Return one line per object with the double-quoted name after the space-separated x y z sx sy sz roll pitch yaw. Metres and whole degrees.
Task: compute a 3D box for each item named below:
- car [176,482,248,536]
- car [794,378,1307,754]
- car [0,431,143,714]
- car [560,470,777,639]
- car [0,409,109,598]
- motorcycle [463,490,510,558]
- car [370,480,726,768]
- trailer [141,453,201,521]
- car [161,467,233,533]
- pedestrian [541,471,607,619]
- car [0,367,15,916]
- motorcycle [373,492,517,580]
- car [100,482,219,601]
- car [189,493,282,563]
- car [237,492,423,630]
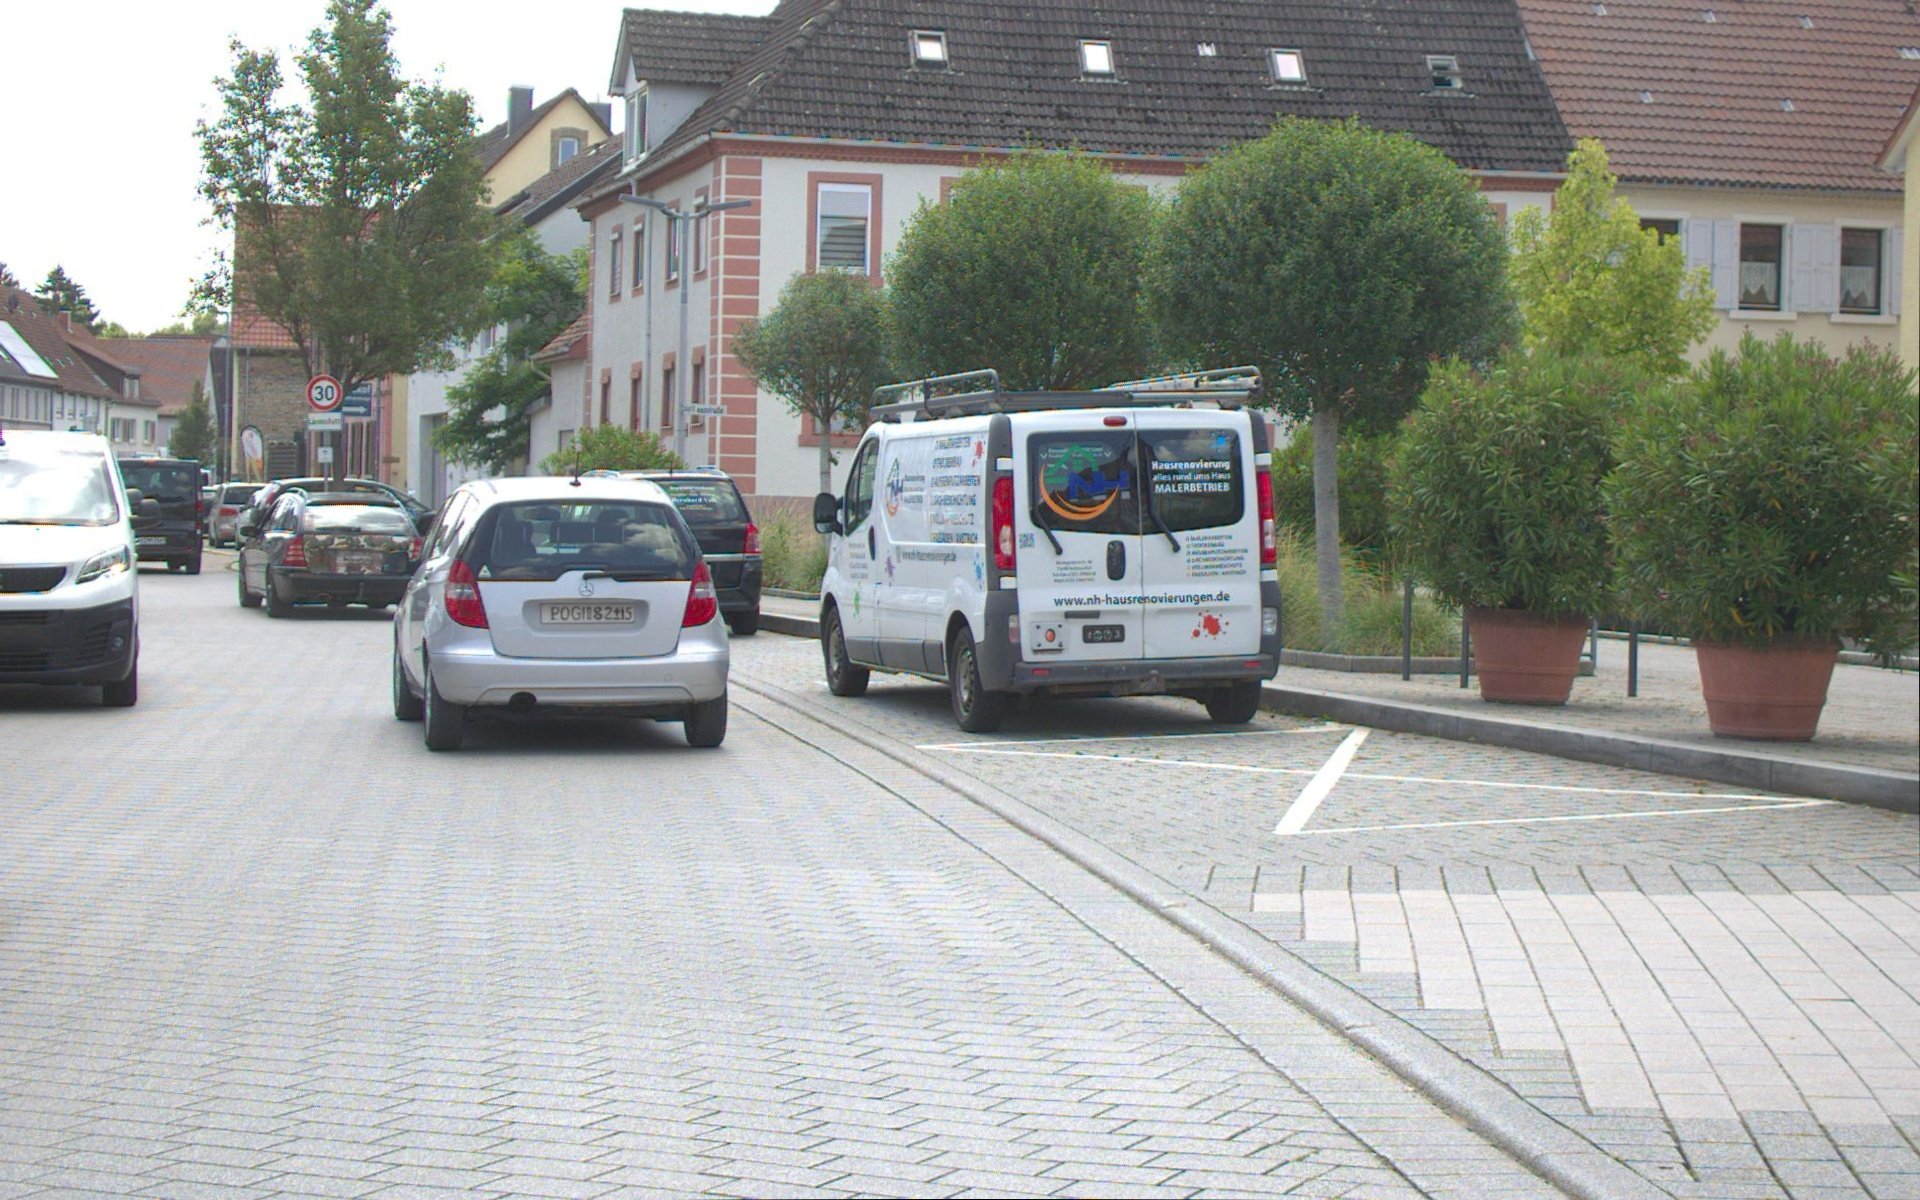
-21.740 -2.653 99.867 1.774 1.490 4.163 0 2 -16 "car"
0.435 -0.307 22.612 1.942 2.169 5.103 -1 2 -16 "car"
-7.050 -0.278 25.170 1.993 1.873 4.868 1 2 -13 "car"
-2.967 -0.496 34.189 1.768 1.559 4.420 1 2 -10 "car"
-10.792 -1.119 38.797 1.993 2.006 4.741 0 2 -18 "car"
-8.040 -1.286 58.334 0.523 1.119 1.068 1 2 -23 "motorcycle"
-2.655 0.064 21.405 1.768 1.589 4.002 0 2 -13 "car"
-27.954 -4.007 121.693 1.844 2.346 3.591 0 2 -16 "trailer"
-23.906 -3.143 107.627 1.891 1.975 4.933 -2 2 -16 "car"
-4.277 -0.614 38.105 0.638 1.623 0.620 0 2 -13 "pedestrian"
-4.227 0.230 10.416 1.993 2.006 4.741 0 2 -7 "car"
-8.394 -1.049 55.990 2.222 1.390 0.871 2 2 27 "motorcycle"
-13.844 -1.028 59.312 1.768 1.881 4.448 3 1 -15 "car"
-18.320 -1.830 86.773 1.993 1.675 4.325 0 2 -16 "car"
-7.109 -0.477 38.927 1.944 1.402 4.002 1 2 -10 "car"
